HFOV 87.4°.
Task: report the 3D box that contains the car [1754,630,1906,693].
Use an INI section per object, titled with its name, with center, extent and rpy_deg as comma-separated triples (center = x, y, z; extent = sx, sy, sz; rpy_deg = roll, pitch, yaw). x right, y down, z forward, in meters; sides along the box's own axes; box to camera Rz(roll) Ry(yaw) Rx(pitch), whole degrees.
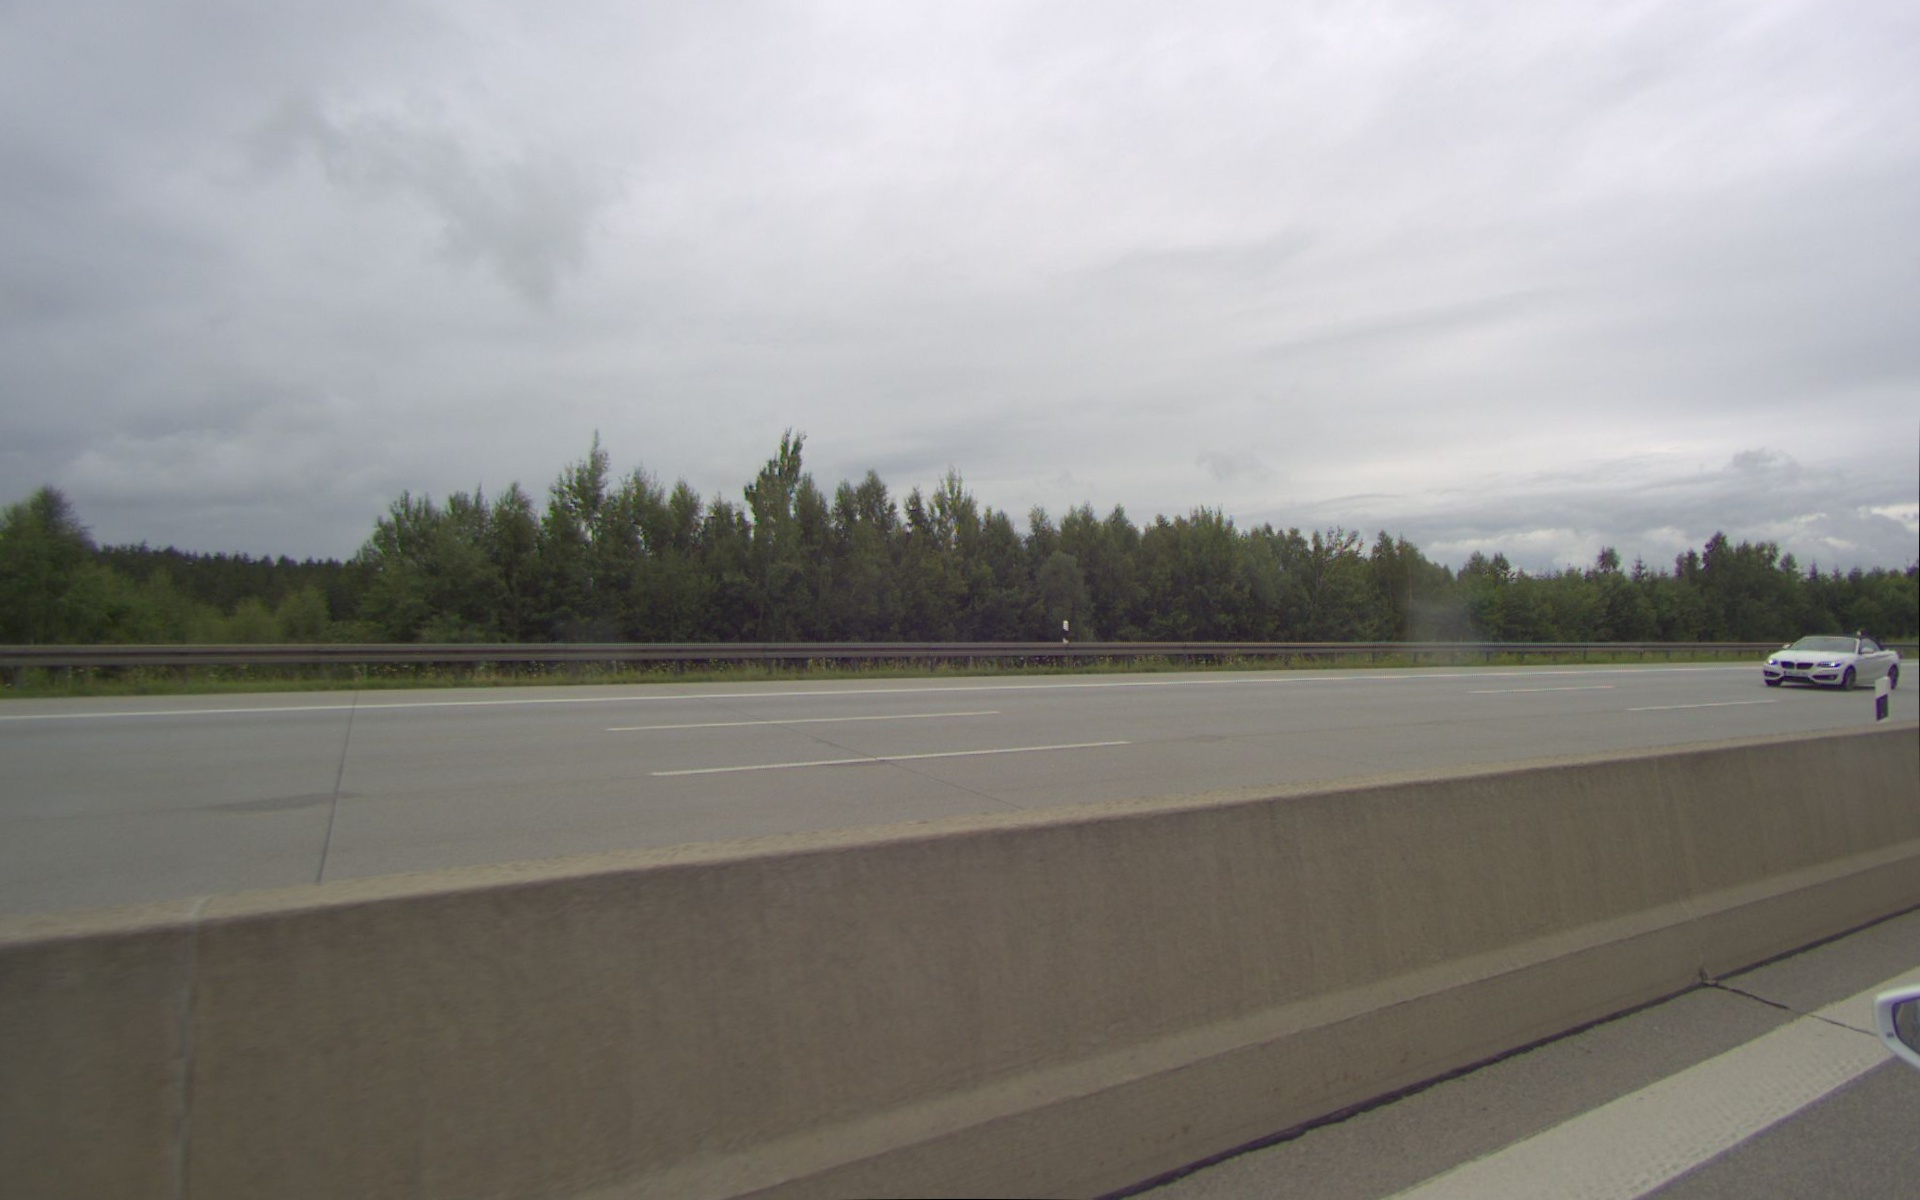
[car]
center = 23.176, 1.582, 26.756
extent = 4.046, 1.386, 1.729
rpy_deg = 0, 3, -29
